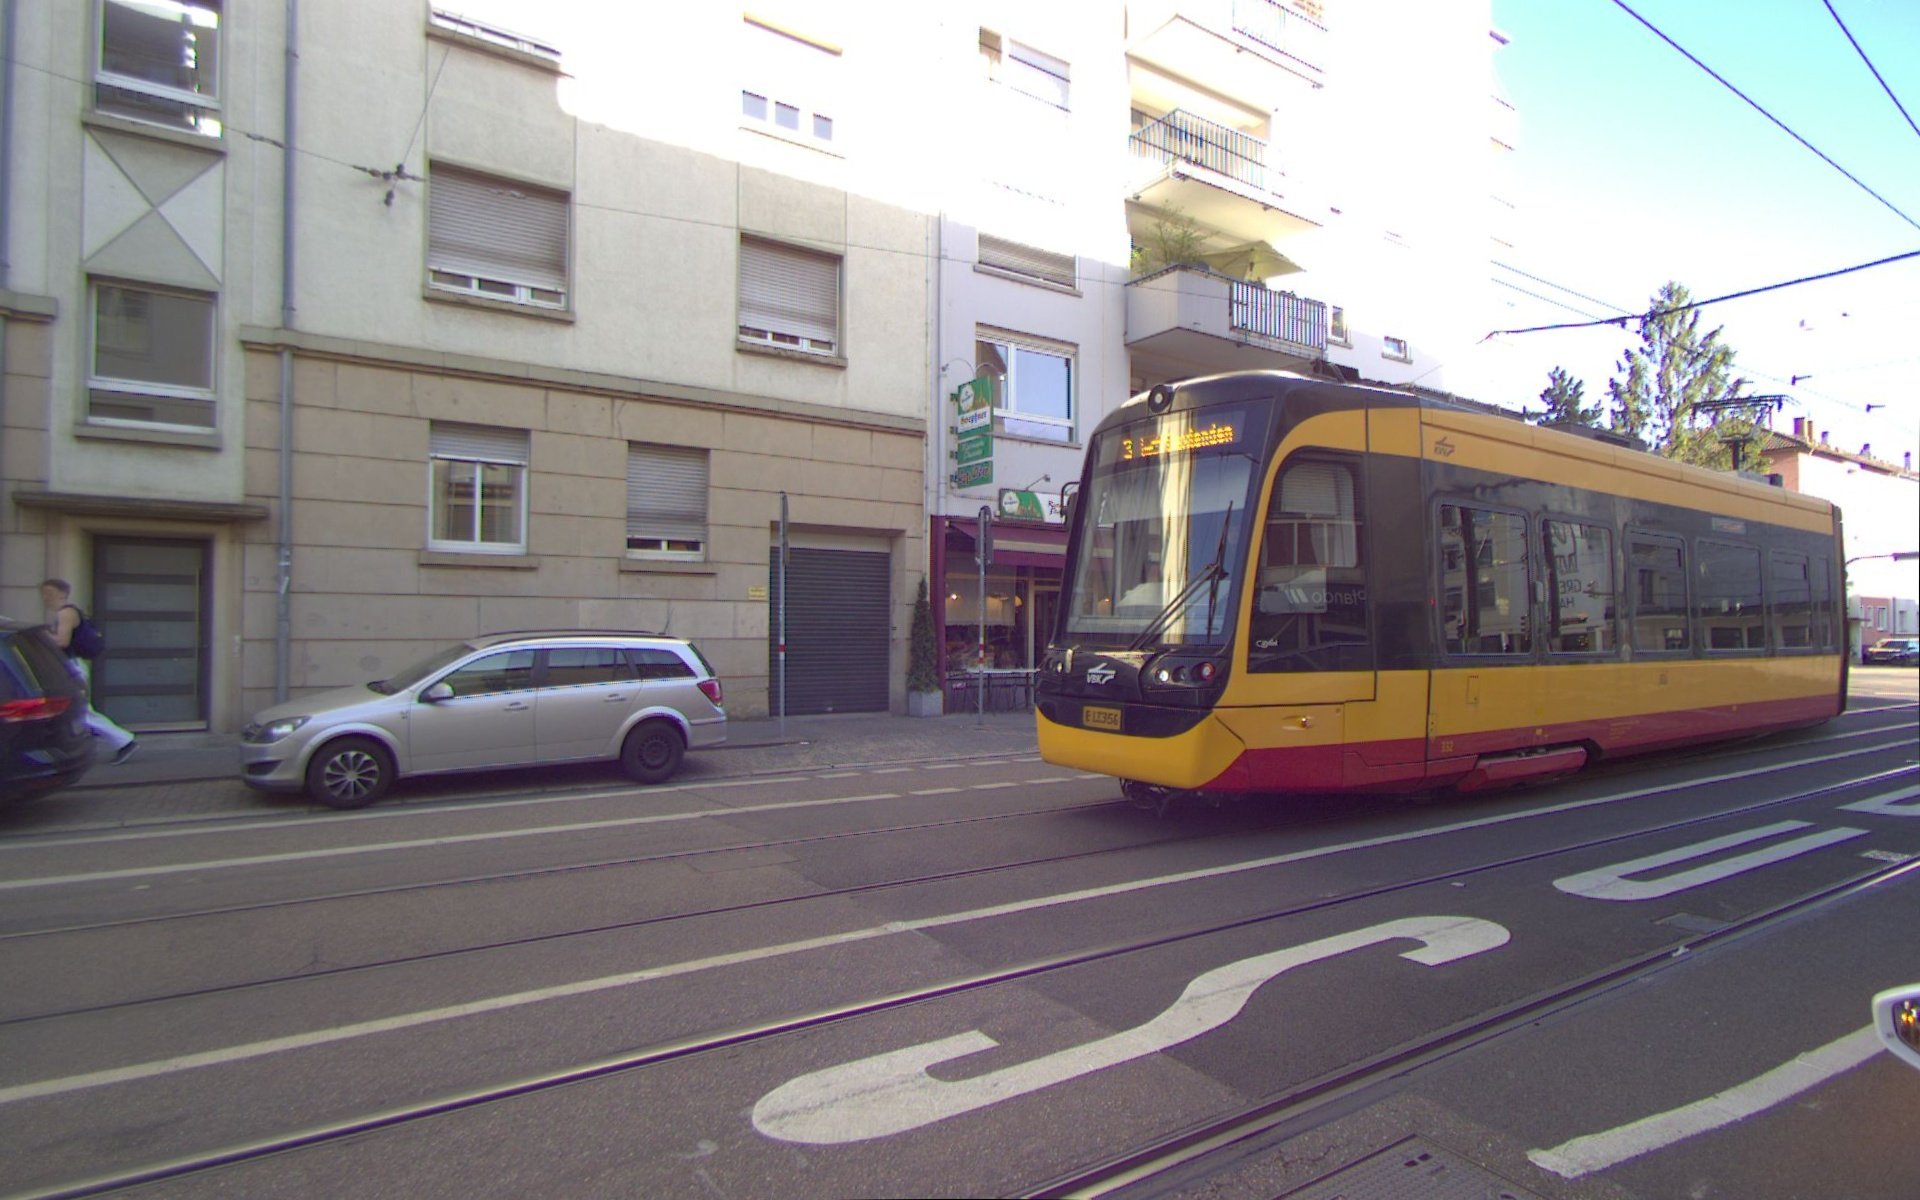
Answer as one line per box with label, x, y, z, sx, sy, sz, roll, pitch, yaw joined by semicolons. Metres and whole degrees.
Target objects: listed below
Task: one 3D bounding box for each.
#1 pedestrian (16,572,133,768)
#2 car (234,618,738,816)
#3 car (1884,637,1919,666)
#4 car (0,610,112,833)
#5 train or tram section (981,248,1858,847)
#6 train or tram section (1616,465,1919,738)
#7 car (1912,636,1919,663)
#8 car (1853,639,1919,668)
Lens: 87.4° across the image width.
pedestrian;-8.778;0.673;9.986;0.725;1.857;0.595;2;0;-30
car;-4.707;1.037;10.316;4.319;1.580;1.981;2;0;-34
car;54.097;2.911;56.601;4.250;1.518;1.806;2;0;-30
car;-9.031;0.864;7.229;4.249;1.606;1.893;2;0;-35
train or tram section;6.103;-0.121;11.032;12.509;3.641;3.041;2;-2;-36
train or tram section;14.873;0.111;17.368;8.995;3.679;2.806;2;0;-36
car;58.215;2.961;59.387;4.103;1.531;1.778;2;0;-31
car;49.580;2.830;53.565;3.949;1.440;1.784;2;0;-31
